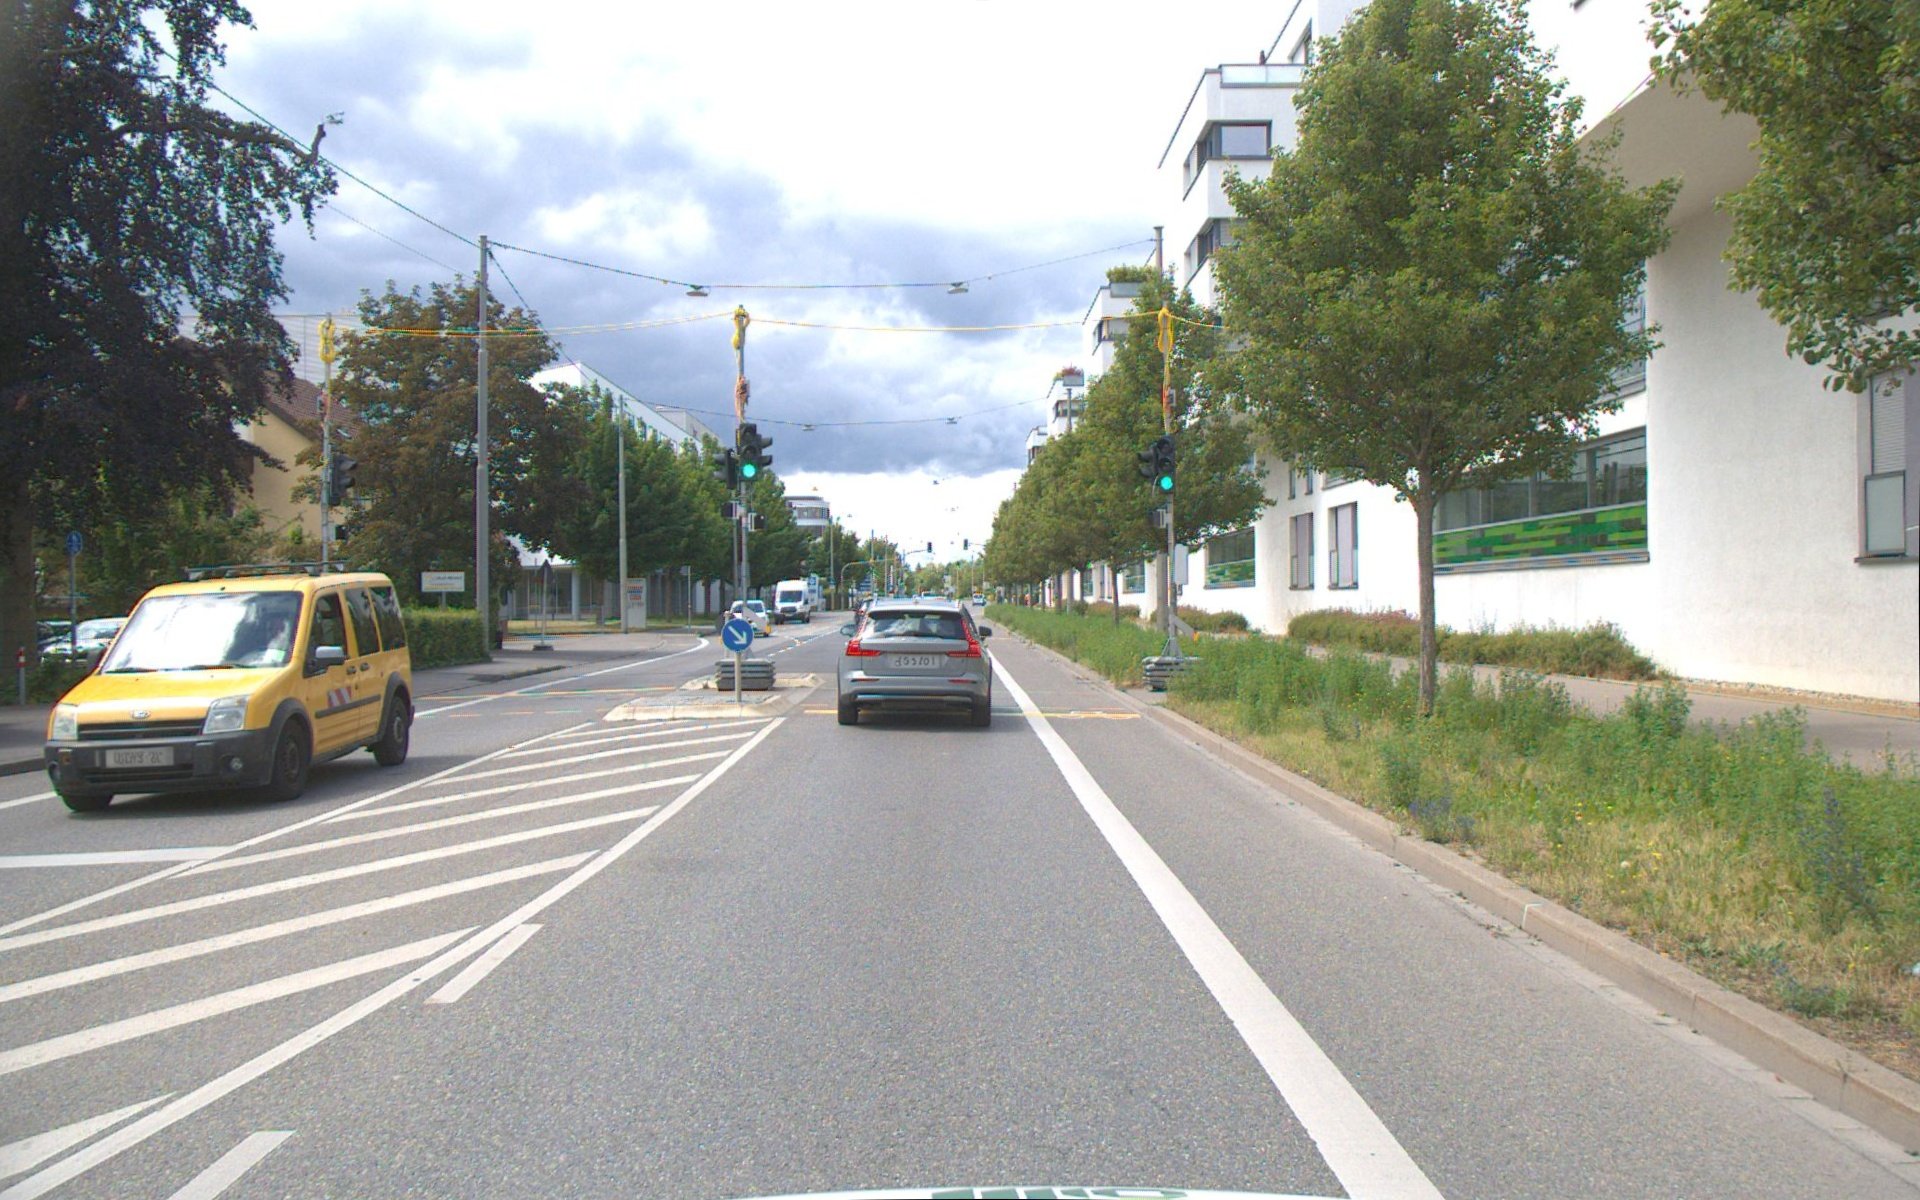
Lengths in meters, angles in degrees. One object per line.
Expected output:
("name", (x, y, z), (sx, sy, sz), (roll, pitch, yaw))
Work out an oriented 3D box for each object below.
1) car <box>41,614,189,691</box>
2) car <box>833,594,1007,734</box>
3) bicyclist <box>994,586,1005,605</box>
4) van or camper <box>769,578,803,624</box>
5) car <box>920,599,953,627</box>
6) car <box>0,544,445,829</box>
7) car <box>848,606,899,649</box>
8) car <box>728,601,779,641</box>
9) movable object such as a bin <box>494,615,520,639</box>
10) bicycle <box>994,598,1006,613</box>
("car", (-18.648, 1.119, 36.658), (1.628, 1.542, 3.434), (-1, 0, -3))
("car", (-0.396, 0.719, 20.637), (1.815, 1.539, 4.002), (1, 0, 3))
("bicyclist", (4.190, -0.486, 175.052), (0.993, 2.049, 1.131), (-2, 0, -2))
("van or camper", (-11.209, 0.052, 106.973), (1.955, 2.781, 6.046), (-2, 0, -5))
("car", (-1.356, 0.710, 93.181), (1.807, 1.539, 3.999), (0, 0, -1))
("car", (-5.960, 0.595, 13.901), (1.804, 1.938, 4.685), (-2, 0, -1))
("car", (-3.268, 1.037, 63.323), (1.817, 1.539, 3.999), (0, 0, -1))
("car", (-8.416, 0.835, 67.610), (1.627, 1.542, 3.999), (-1, 0, -1))
("movable object such as a bin", (-19.288, 1.155, 70.462), (0.730, 0.958, 1.000), (-2, 0, 6))
("bicycle", (4.258, 0.562, 175.075), (1.045, 1.478, 2.976), (-2, 0, -1))
